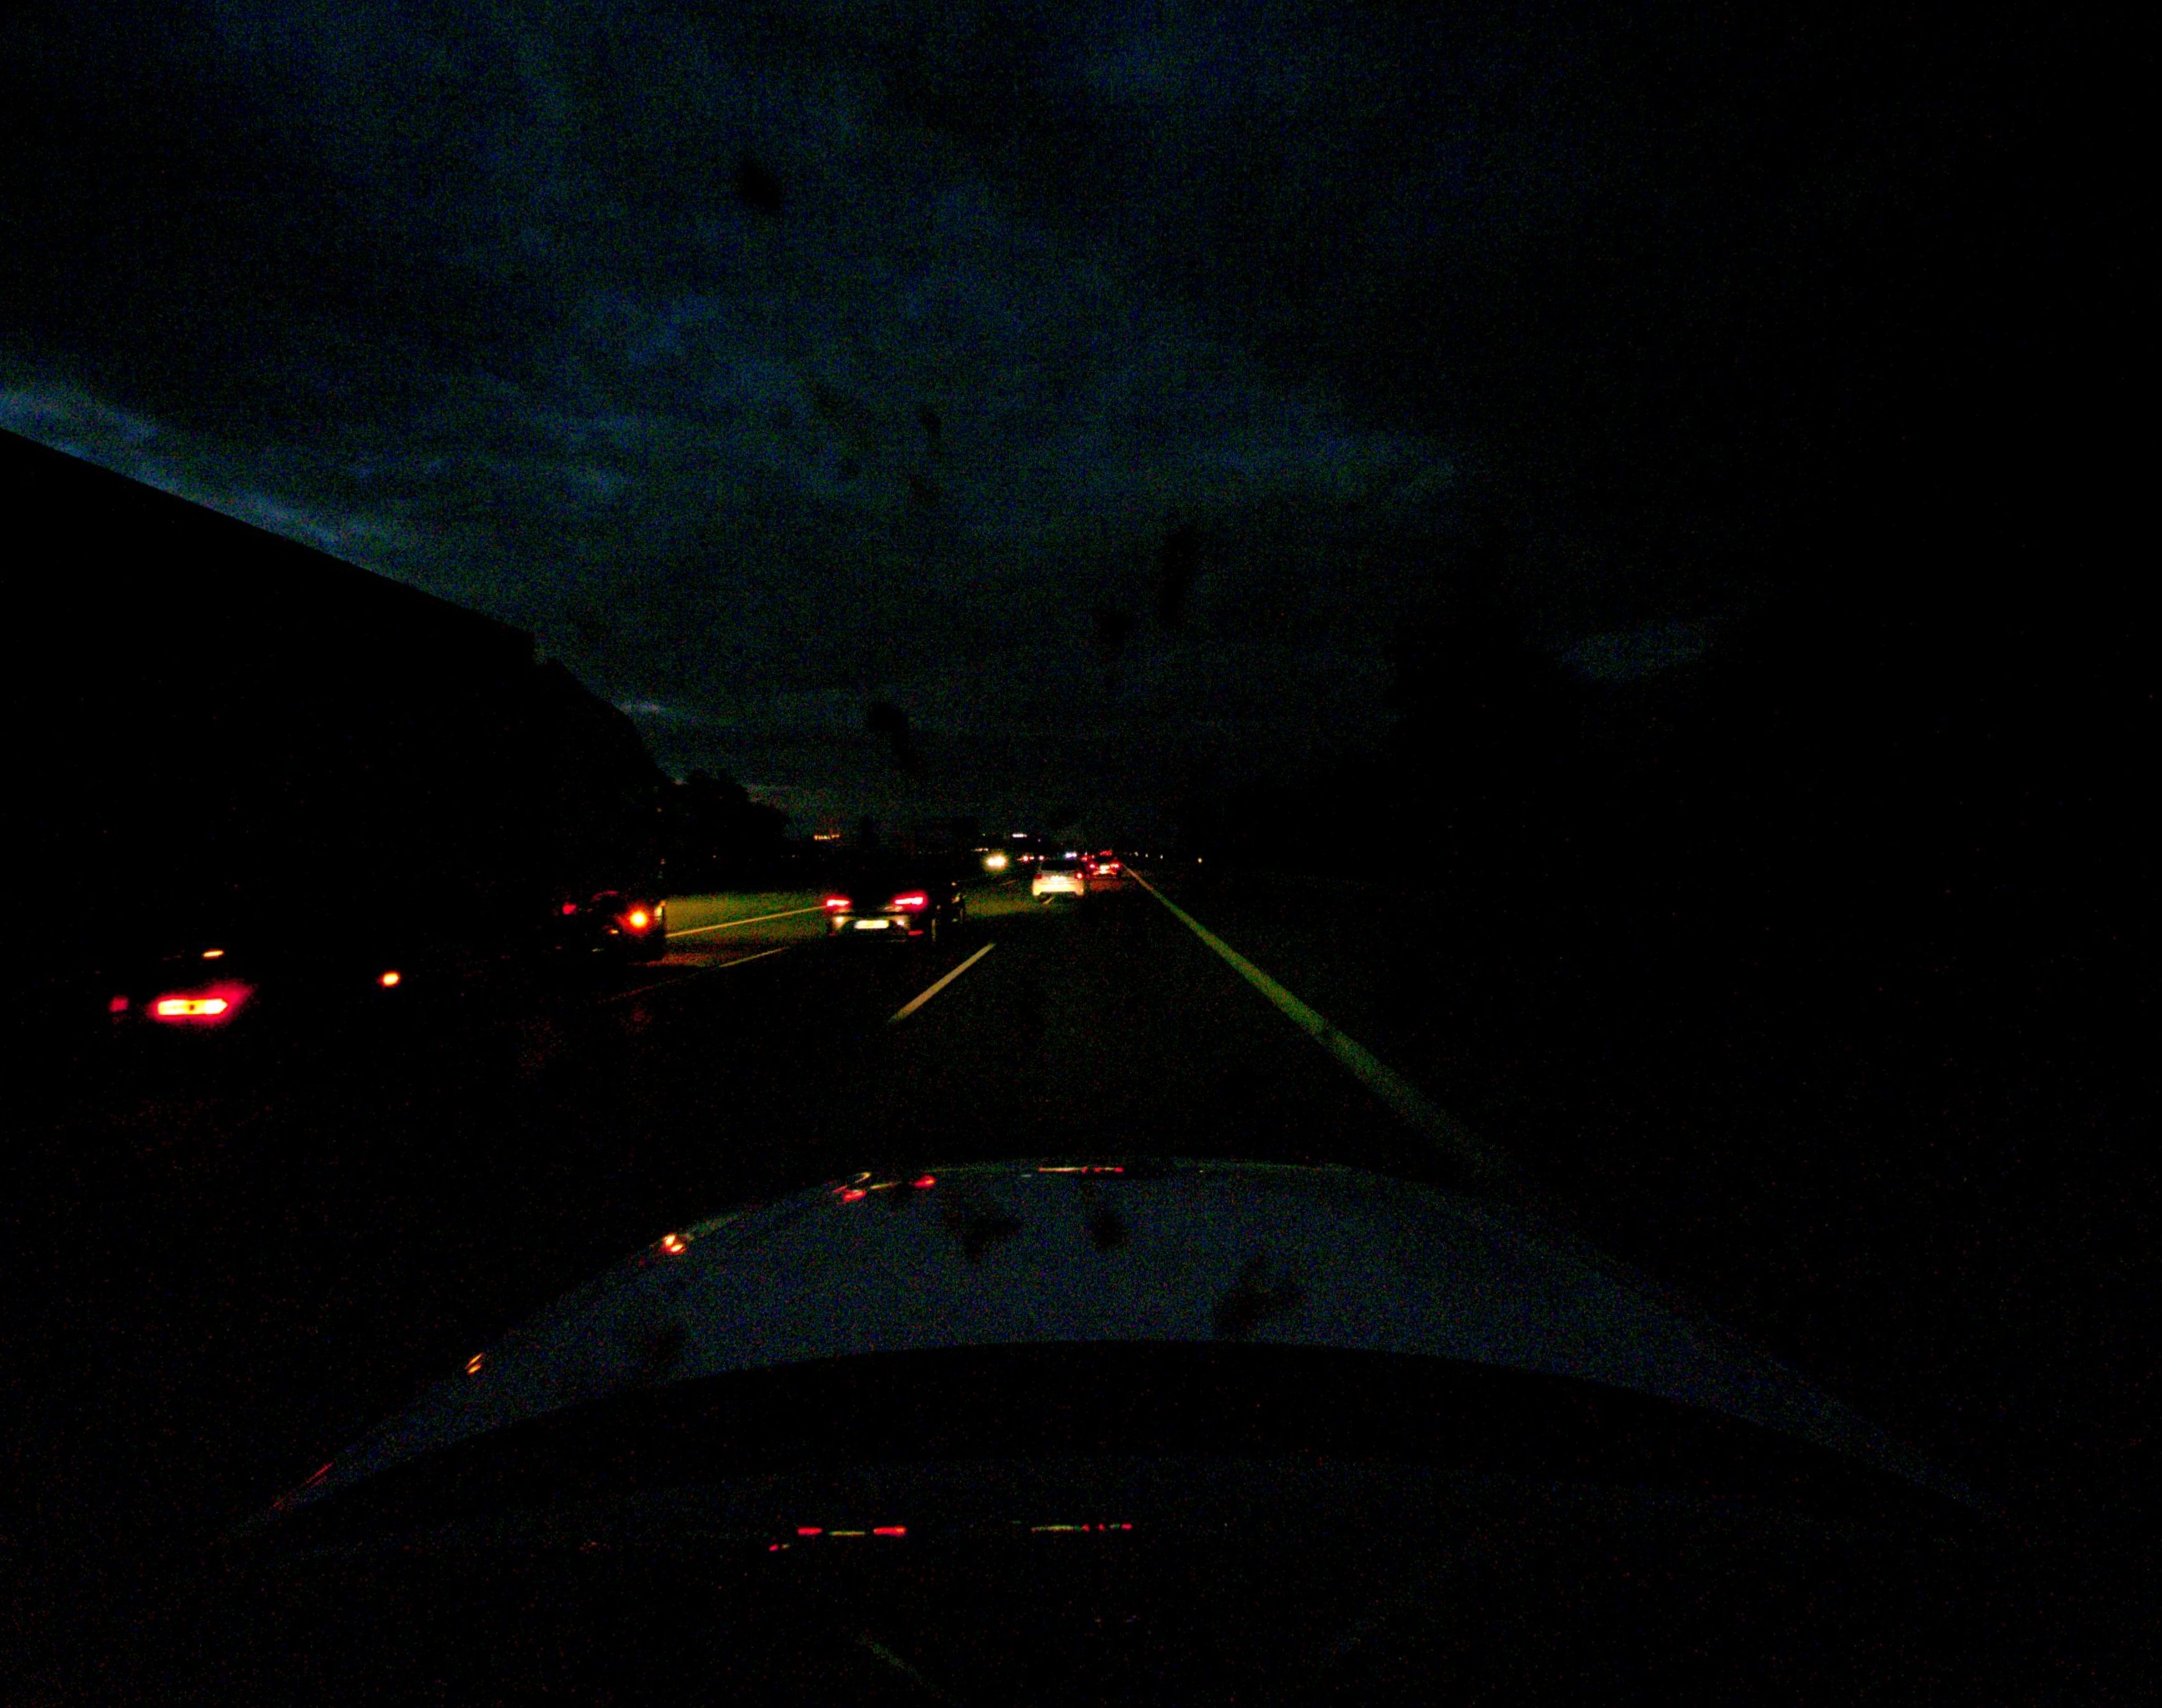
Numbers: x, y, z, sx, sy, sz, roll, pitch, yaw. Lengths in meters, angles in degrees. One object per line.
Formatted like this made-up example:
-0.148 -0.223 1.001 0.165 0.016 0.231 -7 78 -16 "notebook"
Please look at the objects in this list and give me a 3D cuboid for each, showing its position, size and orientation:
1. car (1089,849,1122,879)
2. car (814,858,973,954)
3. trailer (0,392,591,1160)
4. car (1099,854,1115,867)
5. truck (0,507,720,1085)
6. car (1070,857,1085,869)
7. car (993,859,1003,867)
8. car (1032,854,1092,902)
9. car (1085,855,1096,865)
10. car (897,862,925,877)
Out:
1.447 0.586 47.878 1.873 1.643 4.001 0 -1 2 "car"
-3.211 0.832 14.970 1.716 1.471 4.727 0 -1 1 "car"
-7.242 -0.416 1.883 2.783 4.085 14.534 -2 -1 3 "trailer"
3.188 0.831 100.819 1.873 1.552 4.001 0 -1 1 "car"
-6.851 -0.381 8.911 2.766 4.093 6.106 -2 -1 3 "truck"
-0.490 1.228 109.349 1.873 1.552 4.001 0 -1 1 "car"
-14.486 1.596 142.286 1.358 1.261 3.508 0 -1 2 "car"
-0.575 0.785 27.965 1.737 1.525 4.416 0 -1 2 "car"
1.906 1.249 170.234 2.191 1.879 4.001 0 -1 2 "car"
-16.381 1.463 78.847 1.737 1.362 4.113 0 -1 2 "car"
